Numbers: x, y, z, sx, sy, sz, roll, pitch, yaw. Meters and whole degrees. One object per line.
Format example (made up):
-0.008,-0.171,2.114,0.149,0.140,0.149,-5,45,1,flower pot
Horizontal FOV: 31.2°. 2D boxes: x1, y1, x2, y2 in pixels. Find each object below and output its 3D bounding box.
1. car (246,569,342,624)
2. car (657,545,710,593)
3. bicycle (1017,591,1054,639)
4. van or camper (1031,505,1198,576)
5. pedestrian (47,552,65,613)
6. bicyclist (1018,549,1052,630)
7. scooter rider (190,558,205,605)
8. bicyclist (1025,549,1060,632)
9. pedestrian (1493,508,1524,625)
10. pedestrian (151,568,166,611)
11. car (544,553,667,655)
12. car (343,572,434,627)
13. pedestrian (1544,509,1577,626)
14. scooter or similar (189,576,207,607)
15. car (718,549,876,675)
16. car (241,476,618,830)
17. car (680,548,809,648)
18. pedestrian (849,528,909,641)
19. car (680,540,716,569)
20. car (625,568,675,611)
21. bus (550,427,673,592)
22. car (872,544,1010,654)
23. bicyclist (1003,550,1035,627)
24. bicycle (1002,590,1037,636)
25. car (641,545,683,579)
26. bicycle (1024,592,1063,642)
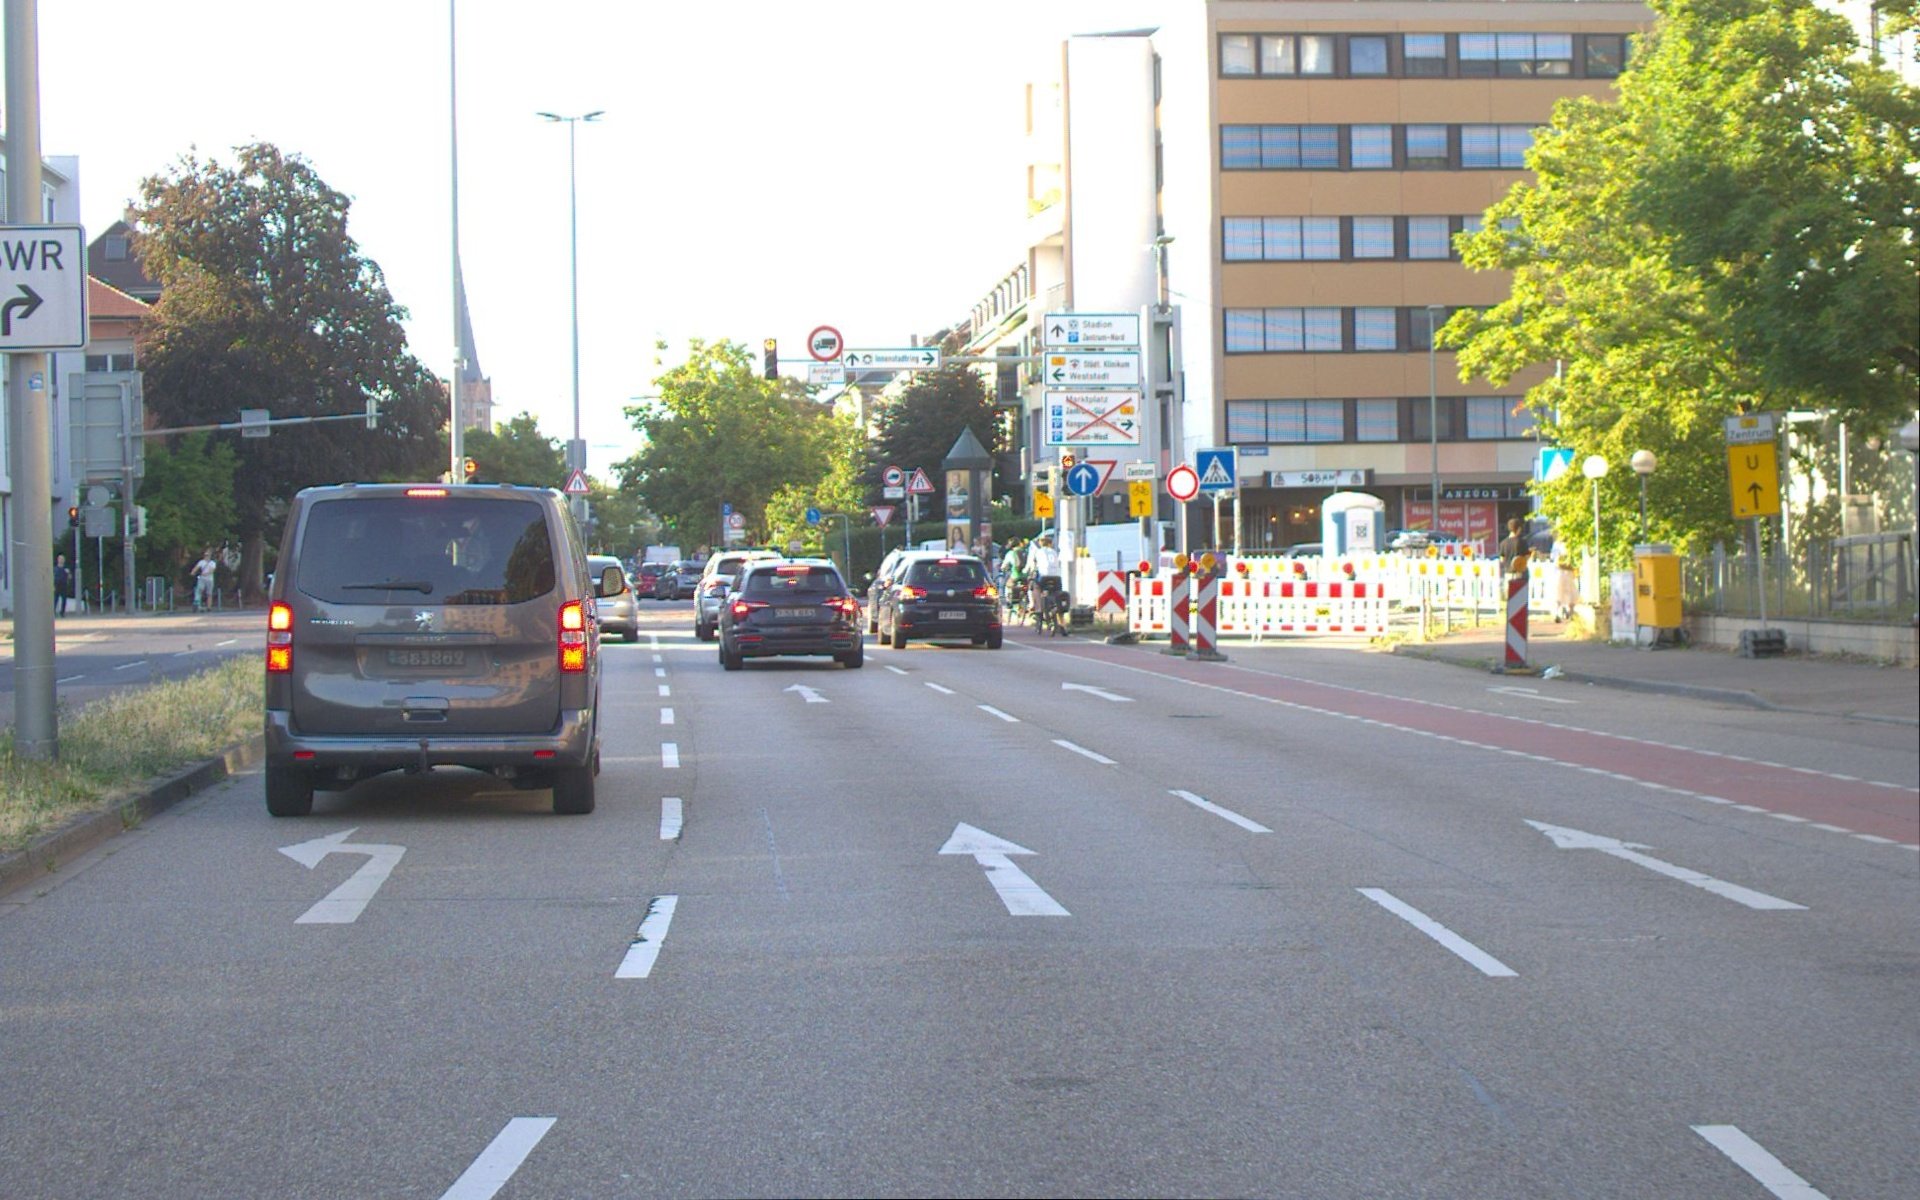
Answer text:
-20.523,-0.127,106.111,1.994,1.590,4.000,-1,1,3,car
-9.575,-1.090,119.228,1.741,1.581,4.001,-1,1,-3,car
1.373,0.266,62.769,0.533,0.844,1.683,-1,1,-3,bicycle
4.645,-1.783,103.204,4.569,2.007,1.998,-1,1,21,van or camper
-24.839,-0.482,94.499,0.375,1.654,0.569,-1,1,-7,pedestrian
1.372,-0.195,62.727,0.541,1.454,0.641,-1,1,-3,bicyclist
-22.549,-0.550,101.694,0.355,1.368,0.337,-1,1,-3,scooter rider
1.454,-0.173,60.557,0.541,1.454,0.641,-1,1,-3,bicyclist
9.528,-0.579,59.705,0.491,2.007,0.664,-1,1,9,pedestrian
-24.102,-0.321,103.407,0.354,1.286,0.379,-1,1,-3,pedestrian
-6.115,0.036,59.029,1.993,1.651,4.300,-1,1,-7,car
-17.742,-0.034,106.875,1.994,1.590,4.000,-1,1,3,car
10.393,-0.567,59.503,0.491,2.007,0.664,-1,1,8,pedestrian
-22.550,-0.260,101.724,0.358,0.892,0.904,-1,1,-3,scooter or similar
-2.089,0.127,44.869,1.845,1.539,3.631,-1,1,0,car
-3.190,0.234,20.951,1.993,1.894,4.300,2,1,-8,car
-3.803,-0.065,60.171,1.993,1.651,4.300,-1,1,-7,car
-1.460,-0.275,61.678,1.018,2.007,1.098,0,0,-3,pedestrian
-15.887,-2.754,208.563,1.848,1.702,3.726,-1,1,-9,car
-11.752,-0.409,130.685,1.741,1.581,4.001,-1,1,-3,car
-10.368,-2.583,101.439,3.289,4.601,10.002,0,1,-7,bus
-0.344,-0.044,55.260,1.993,1.651,4.300,-1,1,-3,car
1.116,-0.222,65.388,0.541,1.454,0.641,-1,1,-3,bicyclist
1.124,0.238,65.375,0.533,0.844,1.683,-1,1,-3,bicycle
-15.204,-1.949,175.315,1.848,1.702,3.726,-1,1,-9,car
1.470,0.293,60.520,0.533,0.844,1.683,-1,1,-3,bicycle
